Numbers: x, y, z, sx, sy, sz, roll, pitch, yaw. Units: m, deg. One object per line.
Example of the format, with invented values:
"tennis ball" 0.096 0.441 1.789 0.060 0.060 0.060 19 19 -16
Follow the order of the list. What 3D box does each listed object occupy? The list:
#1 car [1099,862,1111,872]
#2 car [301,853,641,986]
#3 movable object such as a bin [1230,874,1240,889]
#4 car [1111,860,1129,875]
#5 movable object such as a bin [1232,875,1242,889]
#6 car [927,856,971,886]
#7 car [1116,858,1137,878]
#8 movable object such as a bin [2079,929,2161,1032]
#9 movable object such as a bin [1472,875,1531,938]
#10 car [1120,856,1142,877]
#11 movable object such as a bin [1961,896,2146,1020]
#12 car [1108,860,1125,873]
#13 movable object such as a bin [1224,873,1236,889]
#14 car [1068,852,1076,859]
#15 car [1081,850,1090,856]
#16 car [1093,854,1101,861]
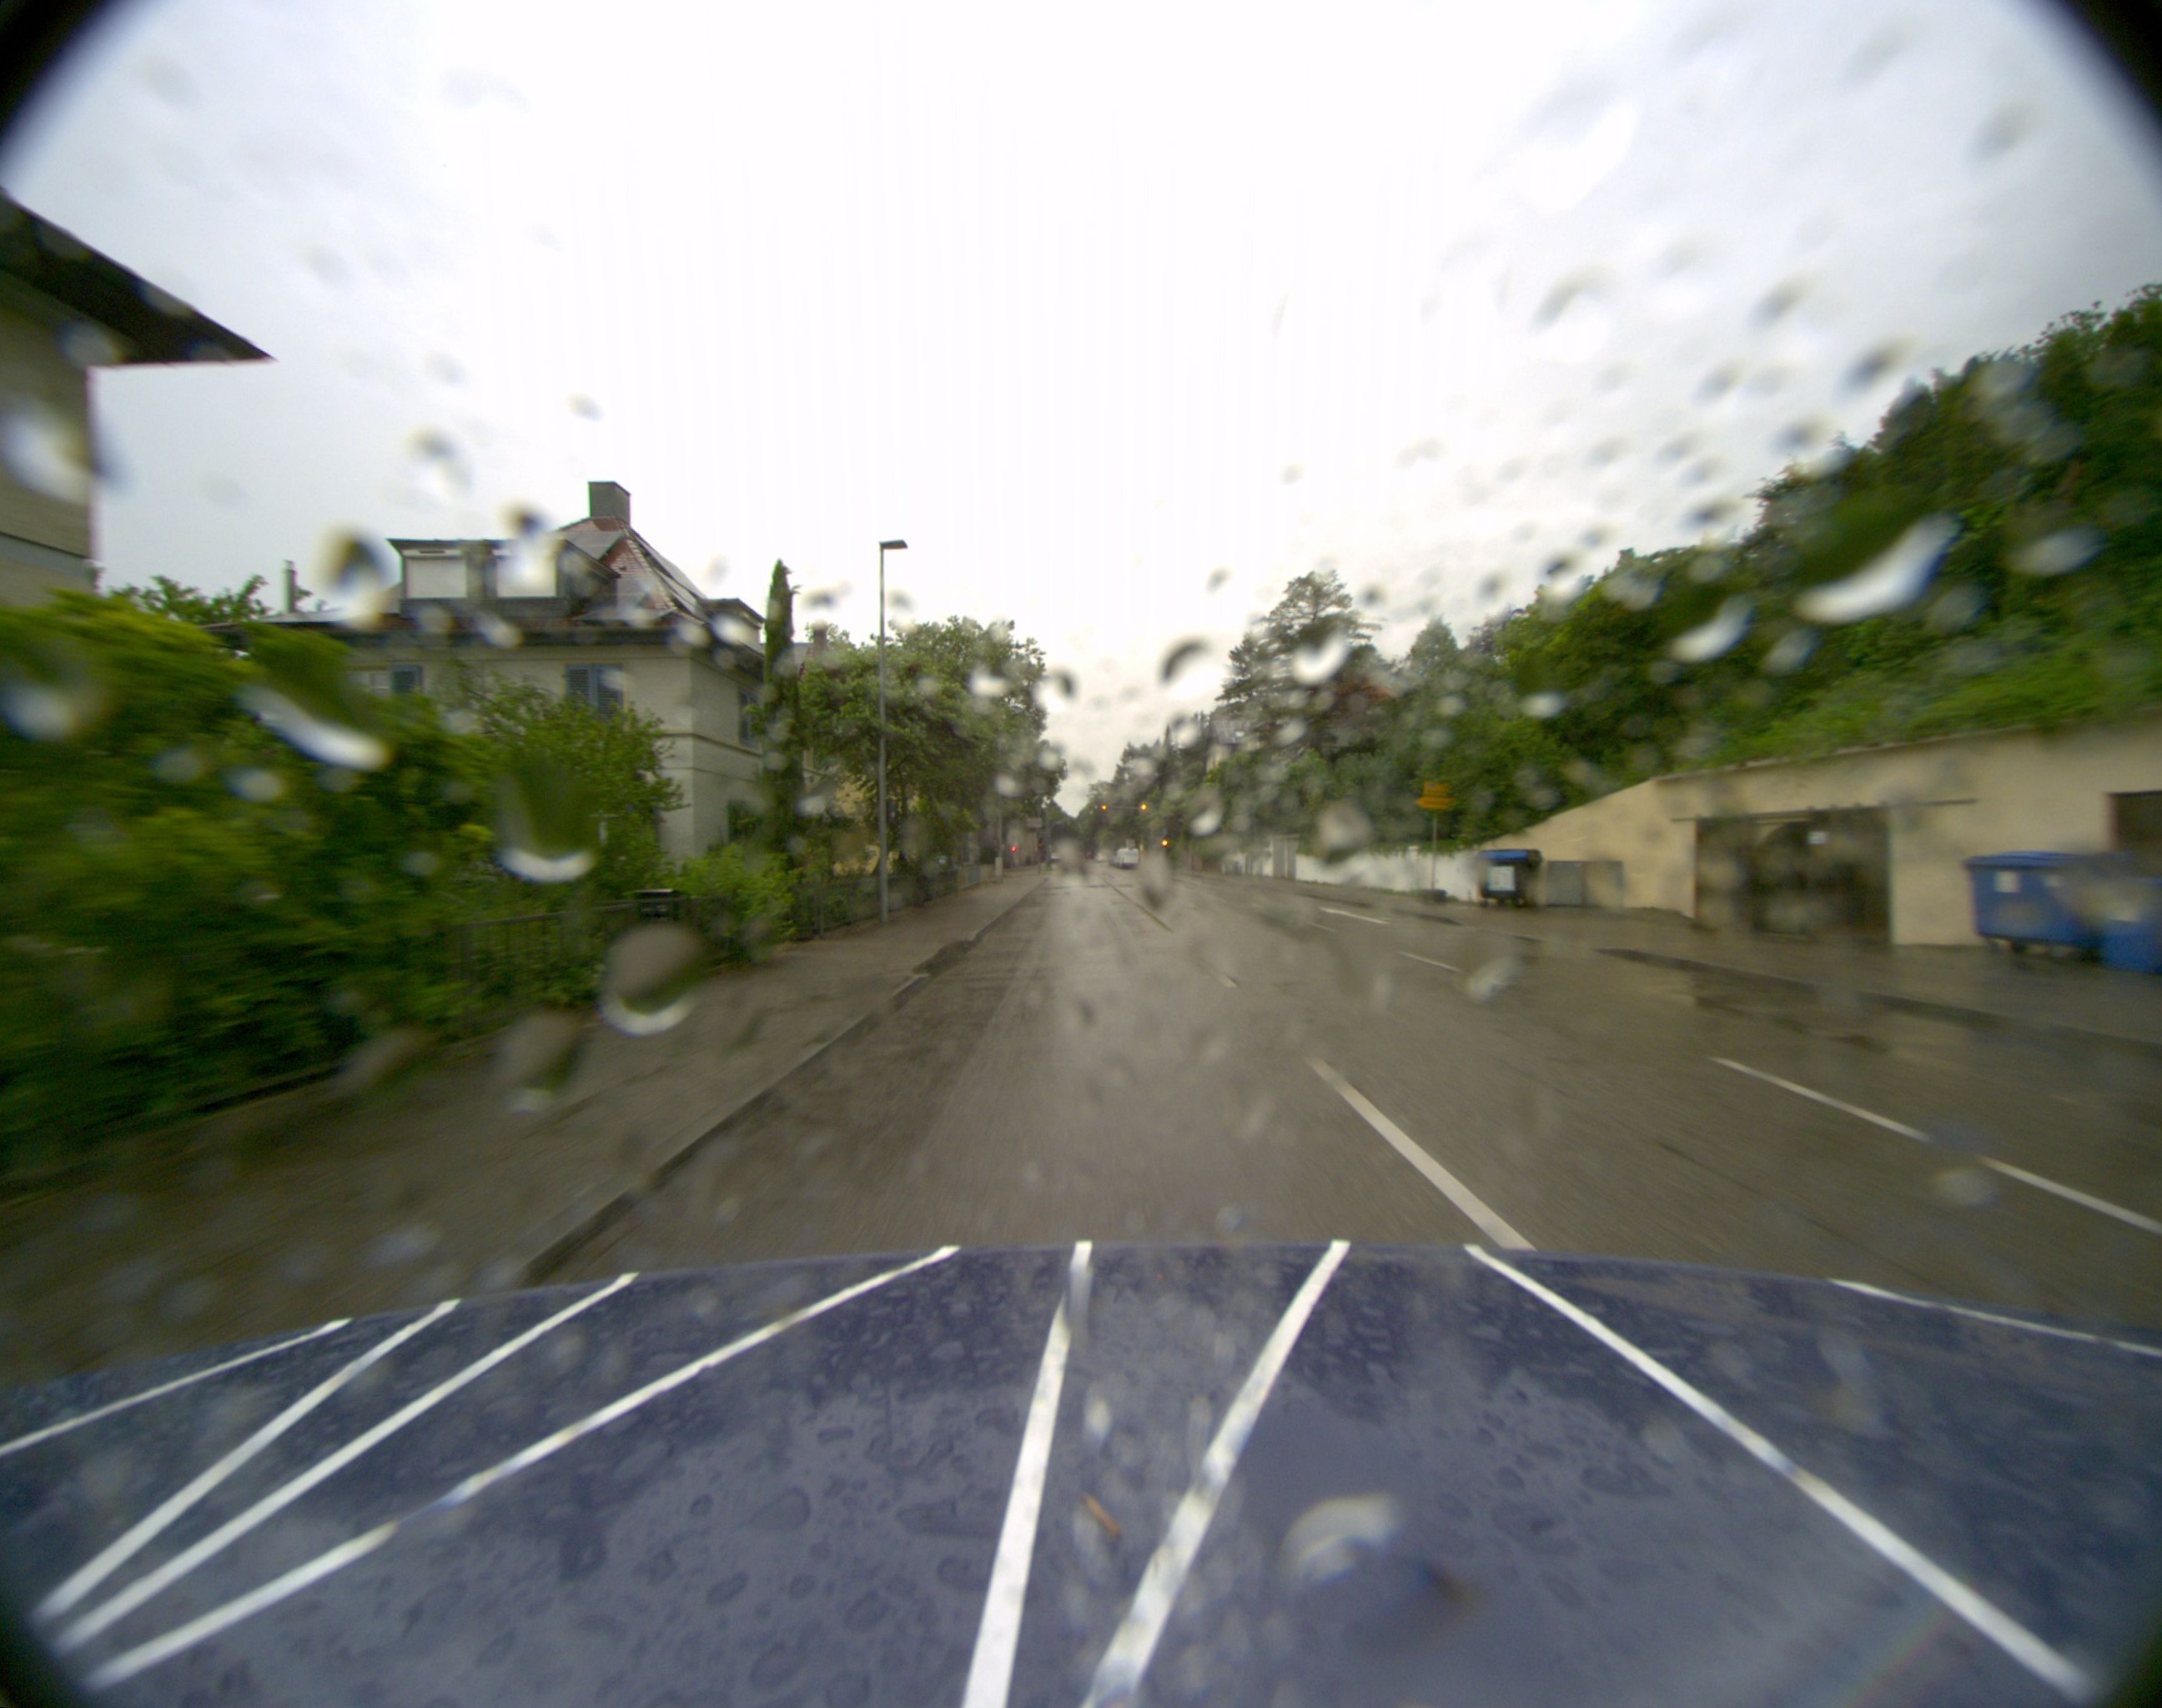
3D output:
"car" 4.522 2.362 143.233 1.925 1.747 3.999 -1 0 -1
"car" -9.756 0.998 12.369 3.996 1.570 1.821 -7 0 4
"movable object such as a bin" 10.210 1.824 50.499 0.544 0.934 0.416 -1 0 -3
"car" 5.570 1.891 109.844 2.162 1.944 4.915 2 0 -2
"movable object such as a bin" 10.276 1.843 50.024 0.532 0.893 0.416 -1 0 -3
"car" -7.084 0.895 41.024 1.673 1.462 3.525 -2 0 1
"car" 5.911 1.767 98.784 2.162 2.454 4.915 2 0 -2
"movable object such as a bin" 11.847 1.387 8.419 0.737 1.036 0.608 -1 0 5
"movable object such as a bin" 10.390 1.287 18.803 0.935 1.437 0.861 -4 1 -1
"car" 6.057 1.492 92.334 2.085 2.464 4.853 2 0 -2
"movable object such as a bin" 11.915 1.240 9.367 0.822 1.374 1.135 -1 0 5
"car" 5.388 1.951 117.227 2.162 1.815 4.915 2 0 -2
"movable object such as a bin" 10.048 1.786 51.207 0.683 1.034 0.657 -1 0 -3
"car" -2.516 0.491 218.449 1.924 1.888 4.001 -1 0 5
"car" 1.423 -0.445 245.962 1.923 1.888 4.003 -1 0 11
"car" 4.472 1.081 212.971 1.924 1.888 4.001 -1 0 5
